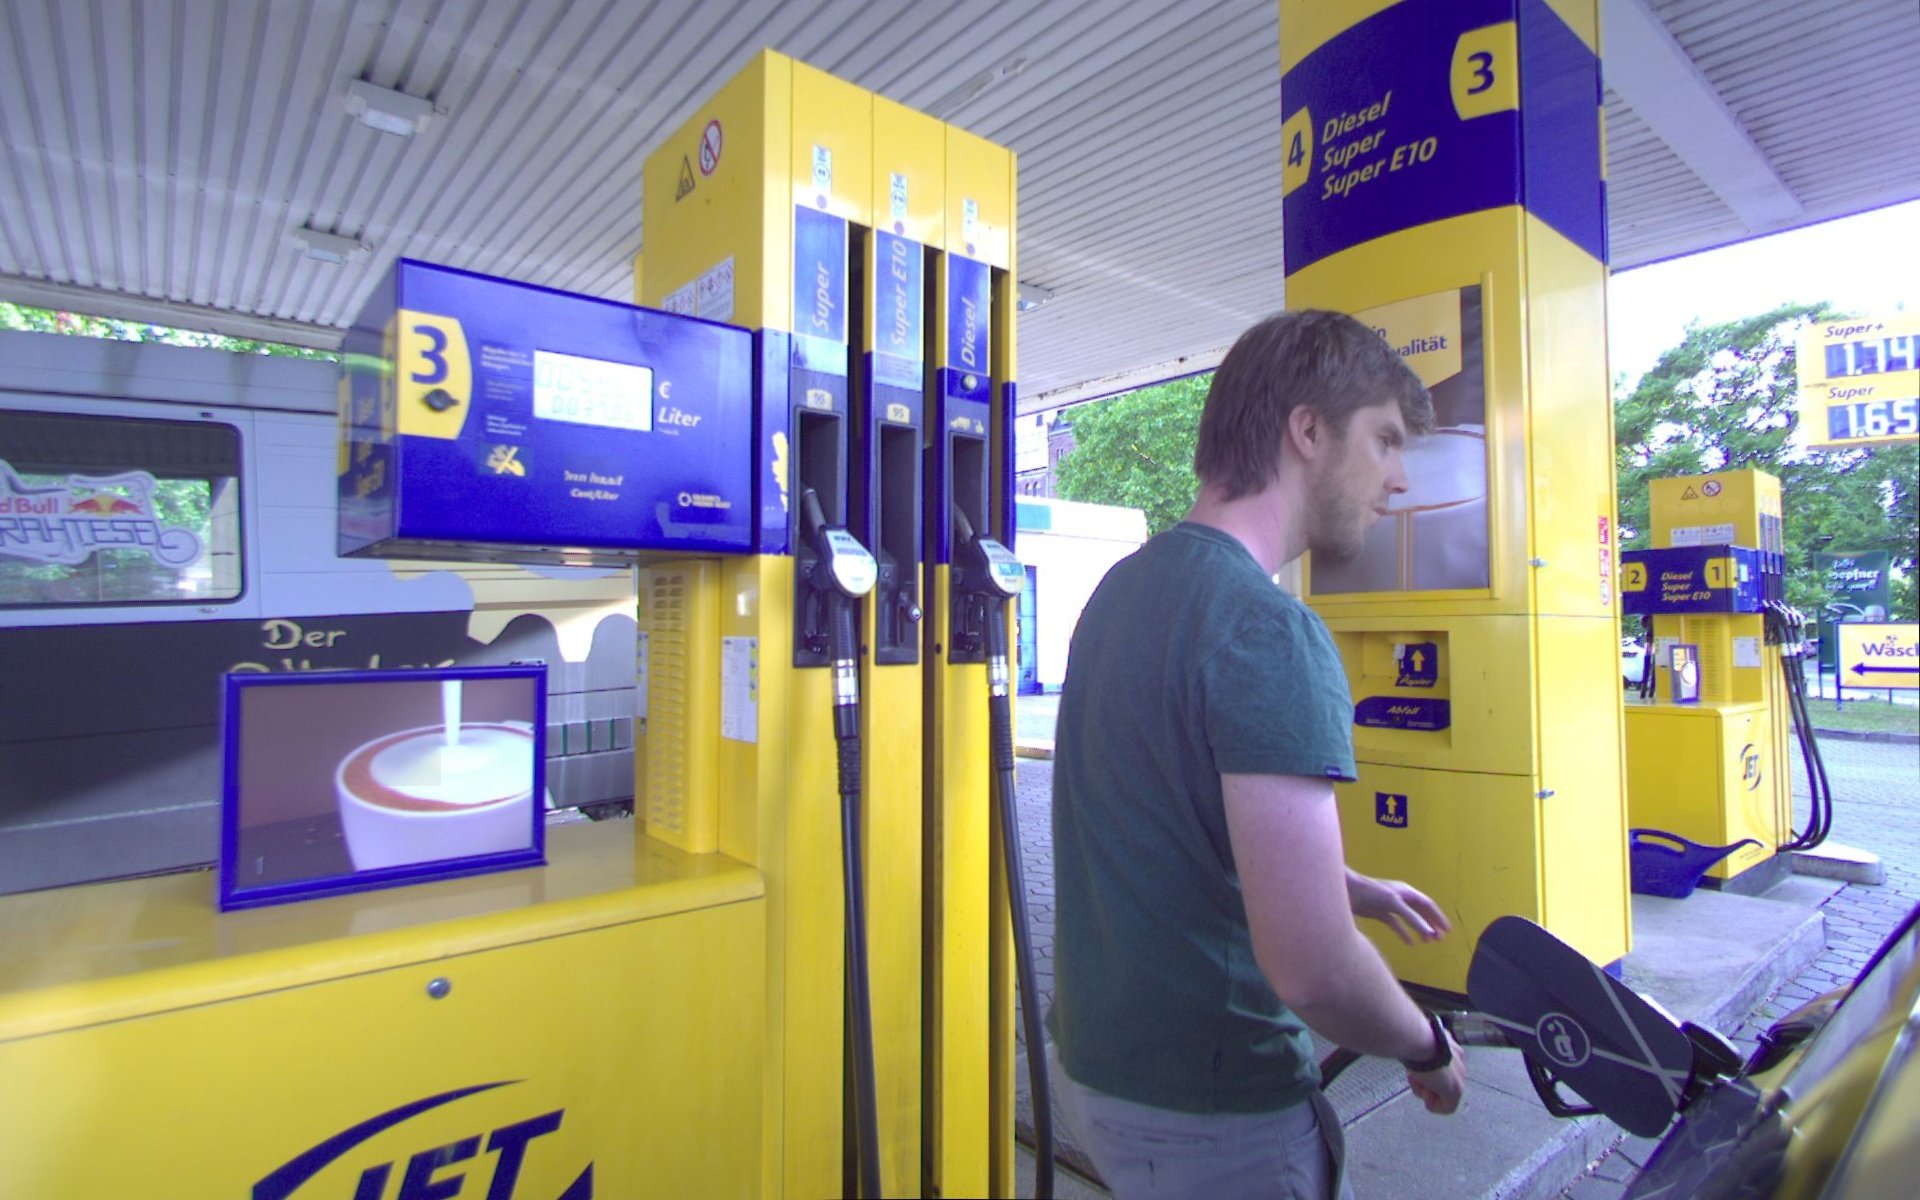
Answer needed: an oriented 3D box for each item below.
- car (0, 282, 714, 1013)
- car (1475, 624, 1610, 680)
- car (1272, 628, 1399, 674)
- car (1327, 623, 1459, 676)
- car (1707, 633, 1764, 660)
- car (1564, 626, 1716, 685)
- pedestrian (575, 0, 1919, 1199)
[{"bbox_3d":[-4.097,0.186,4.857,5.248,2.760,2.201,0,-1,-39],"label":"car"},{"bbox_3d":[17.772,1.576,30.852,4.112,1.606,1.826,2,-3,-31],"label":"car"},{"bbox_3d":[12.643,1.698,34.033,4.112,1.453,1.826,2,-3,-31],"label":"car"},{"bbox_3d":[13.783,1.567,32.170,4.112,1.606,1.826,2,-3,-31],"label":"car"},{"bbox_3d":[49.759,2.964,65.021,1.844,1.528,4.784,-3,-2,25],"label":"car"},{"bbox_3d":[18.255,1.485,27.136,4.112,1.478,1.826,2,-3,-31],"label":"car"},{"bbox_3d":[0.325,0.516,1.151,1.161,1.750,0.993,-2,1,-38],"label":"pedestrian"}]
